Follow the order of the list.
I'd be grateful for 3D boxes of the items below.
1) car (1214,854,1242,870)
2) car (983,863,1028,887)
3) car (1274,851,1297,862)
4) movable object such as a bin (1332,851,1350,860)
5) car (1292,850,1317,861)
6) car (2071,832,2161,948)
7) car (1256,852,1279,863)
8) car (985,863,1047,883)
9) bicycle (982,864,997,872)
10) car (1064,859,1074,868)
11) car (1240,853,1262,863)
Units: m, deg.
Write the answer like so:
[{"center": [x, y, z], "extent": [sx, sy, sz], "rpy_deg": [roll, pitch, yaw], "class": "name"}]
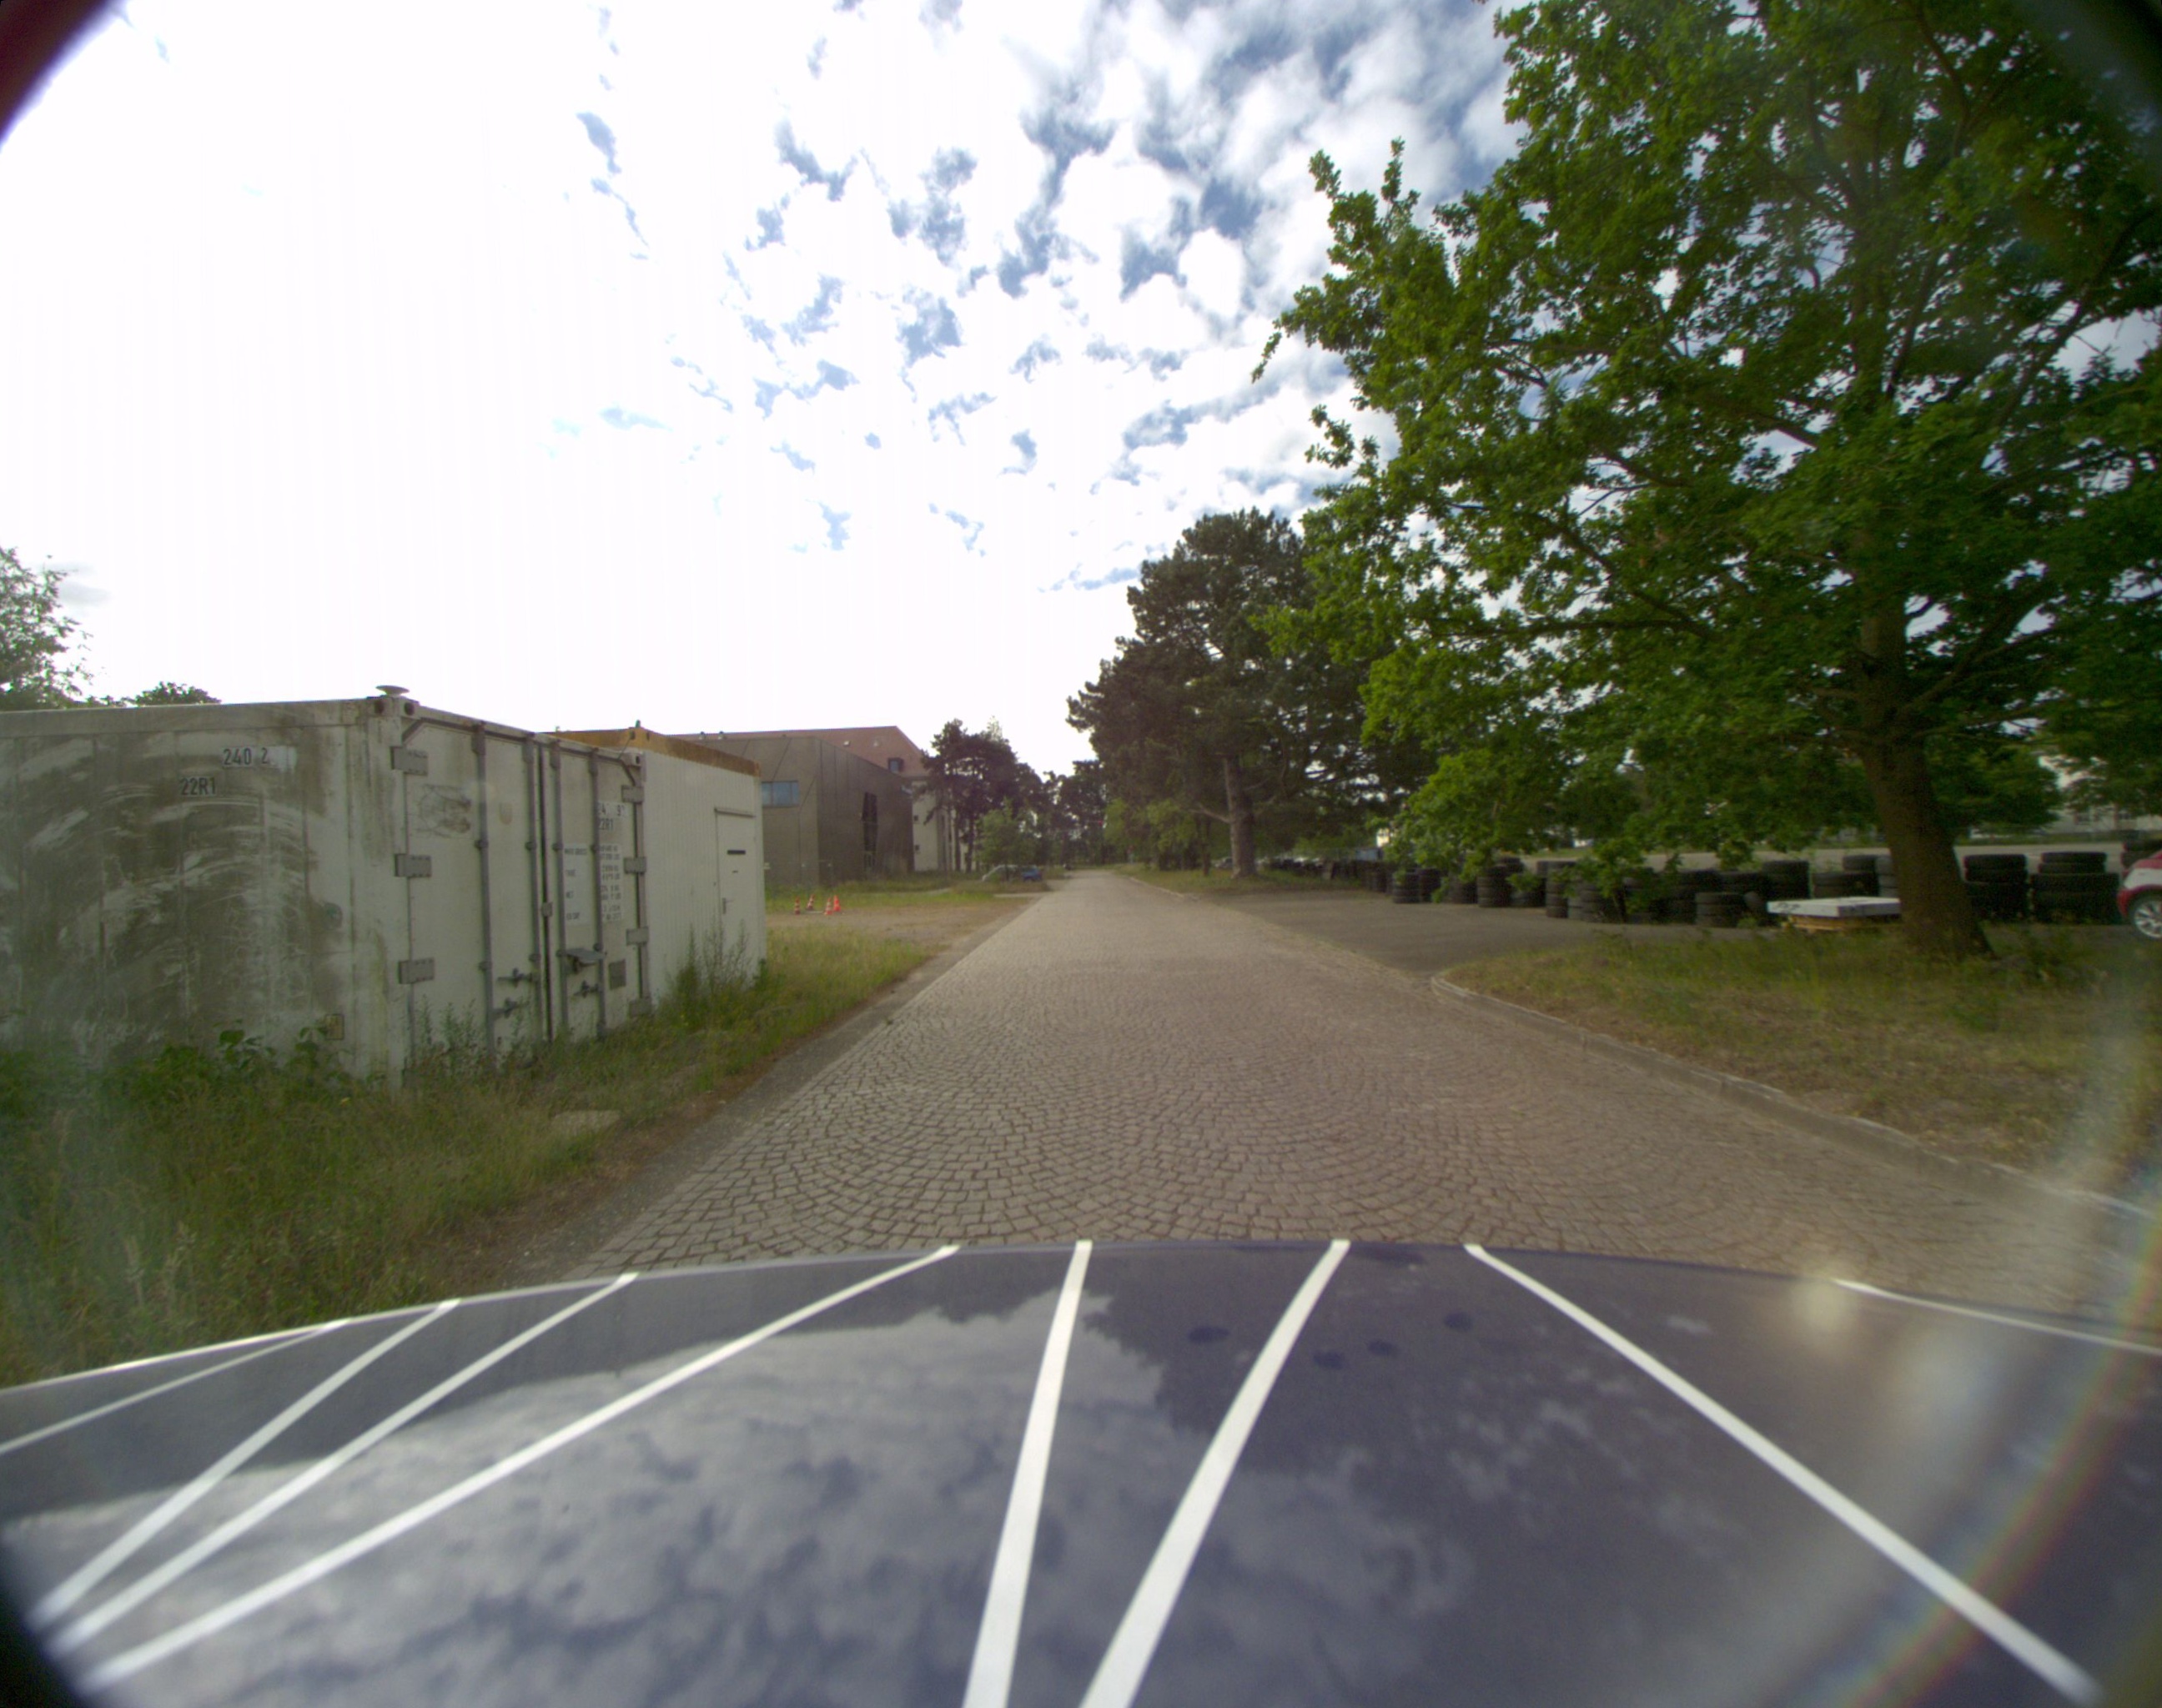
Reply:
[{"center": [13.737, 0.764, 71.155], "extent": [1.670, 1.402, 3.723], "rpy_deg": [-2, 0, -2], "class": "car"}, {"center": [-4.939, 1.365, 49.810], "extent": [2.748, 1.573, 1.683], "rpy_deg": [0, 0, 1], "class": "car"}, {"center": [29.350, 0.350, 109.139], "extent": [1.999, 1.441, 4.452], "rpy_deg": [-2, 0, -3], "class": "car"}, {"center": [33.108, 0.238, 96.821], "extent": [1.057, 1.064, 2.719], "rpy_deg": [-2, 0, -8], "class": "movable object such as a bin"}, {"center": [32.236, 0.223, 109.637], "extent": [1.999, 1.441, 4.452], "rpy_deg": [-2, 0, -3], "class": "car"}, {"center": [14.039, 0.413, 8.047], "extent": [1.827, 1.423, 4.221], "rpy_deg": [-2, 0, 6], "class": "car"}, {"center": [26.769, 0.461, 109.068], "extent": [1.999, 1.441, 4.452], "rpy_deg": [-2, 0, -3], "class": "car"}, {"center": [-4.822, 1.417, 57.099], "extent": [4.537, 1.441, 1.932], "rpy_deg": [0, 0, -1], "class": "car"}, {"center": [-13.940, 2.167, 115.392], "extent": [2.164, 1.088, 0.717], "rpy_deg": [-2, 0, -3], "class": "bicycle"}, {"center": [-2.713, 2.150, 172.597], "extent": [1.999, 1.777, 3.998], "rpy_deg": [-2, 0, -5], "class": "car"}, {"center": [24.259, 0.572, 108.615], "extent": [1.999, 1.441, 4.452], "rpy_deg": [-2, 0, -3], "class": "car"}]
